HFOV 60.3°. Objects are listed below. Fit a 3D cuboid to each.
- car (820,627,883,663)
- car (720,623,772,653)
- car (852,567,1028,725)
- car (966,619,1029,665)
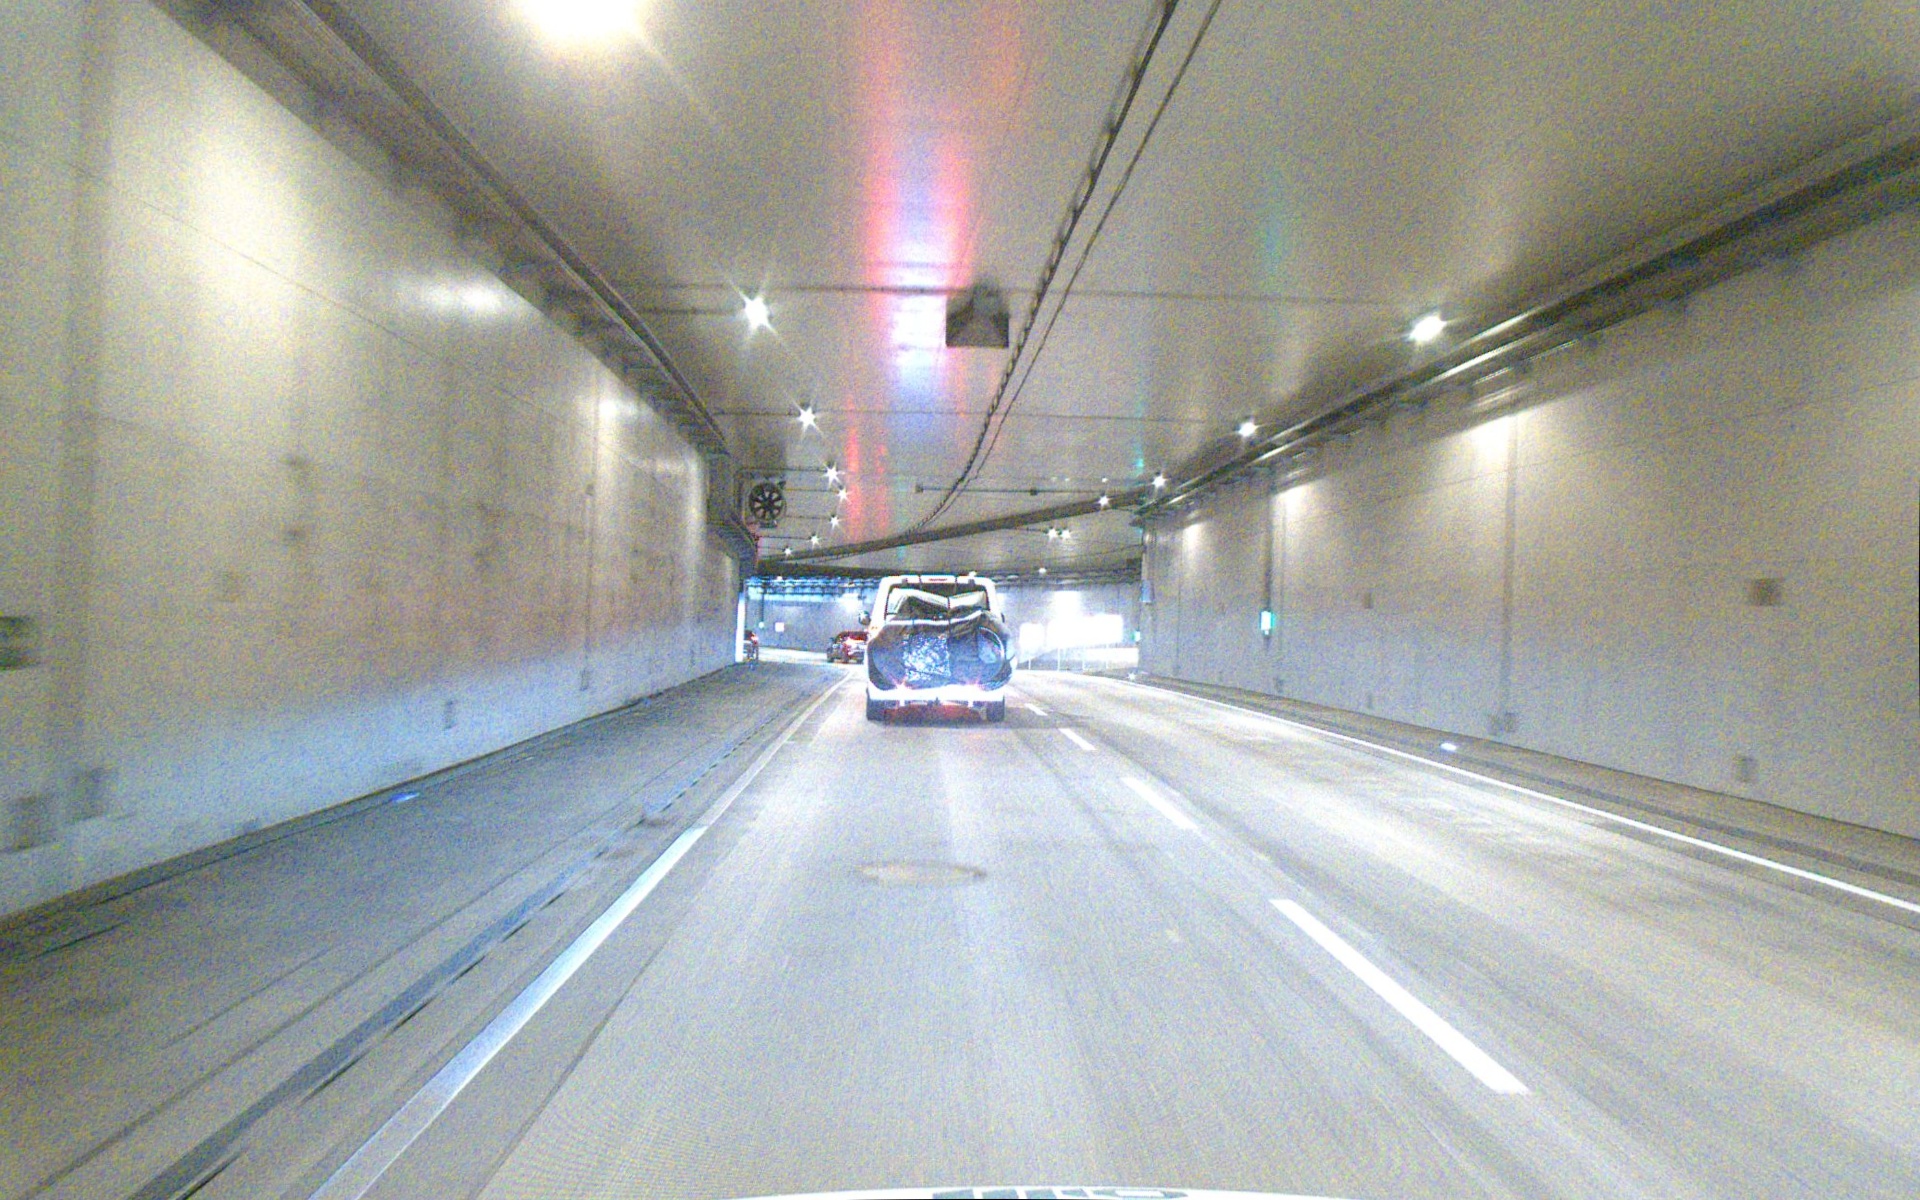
[{"bbox_3d":[-5.487,2.269,83.120,1.800,1.659,3.809,4,-4,-27],"label":"car"},{"bbox_3d":[-13.114,2.318,101.057,1.803,1.659,3.806,4,-1,-29],"label":"car"},{"bbox_3d":[-0.407,0.588,22.646,1.955,1.880,5.294,1,-1,-6],"label":"car"},{"bbox_3d":[1.374,1.546,61.827,1.575,1.659,3.345,1,-1,-13],"label":"car"}]
